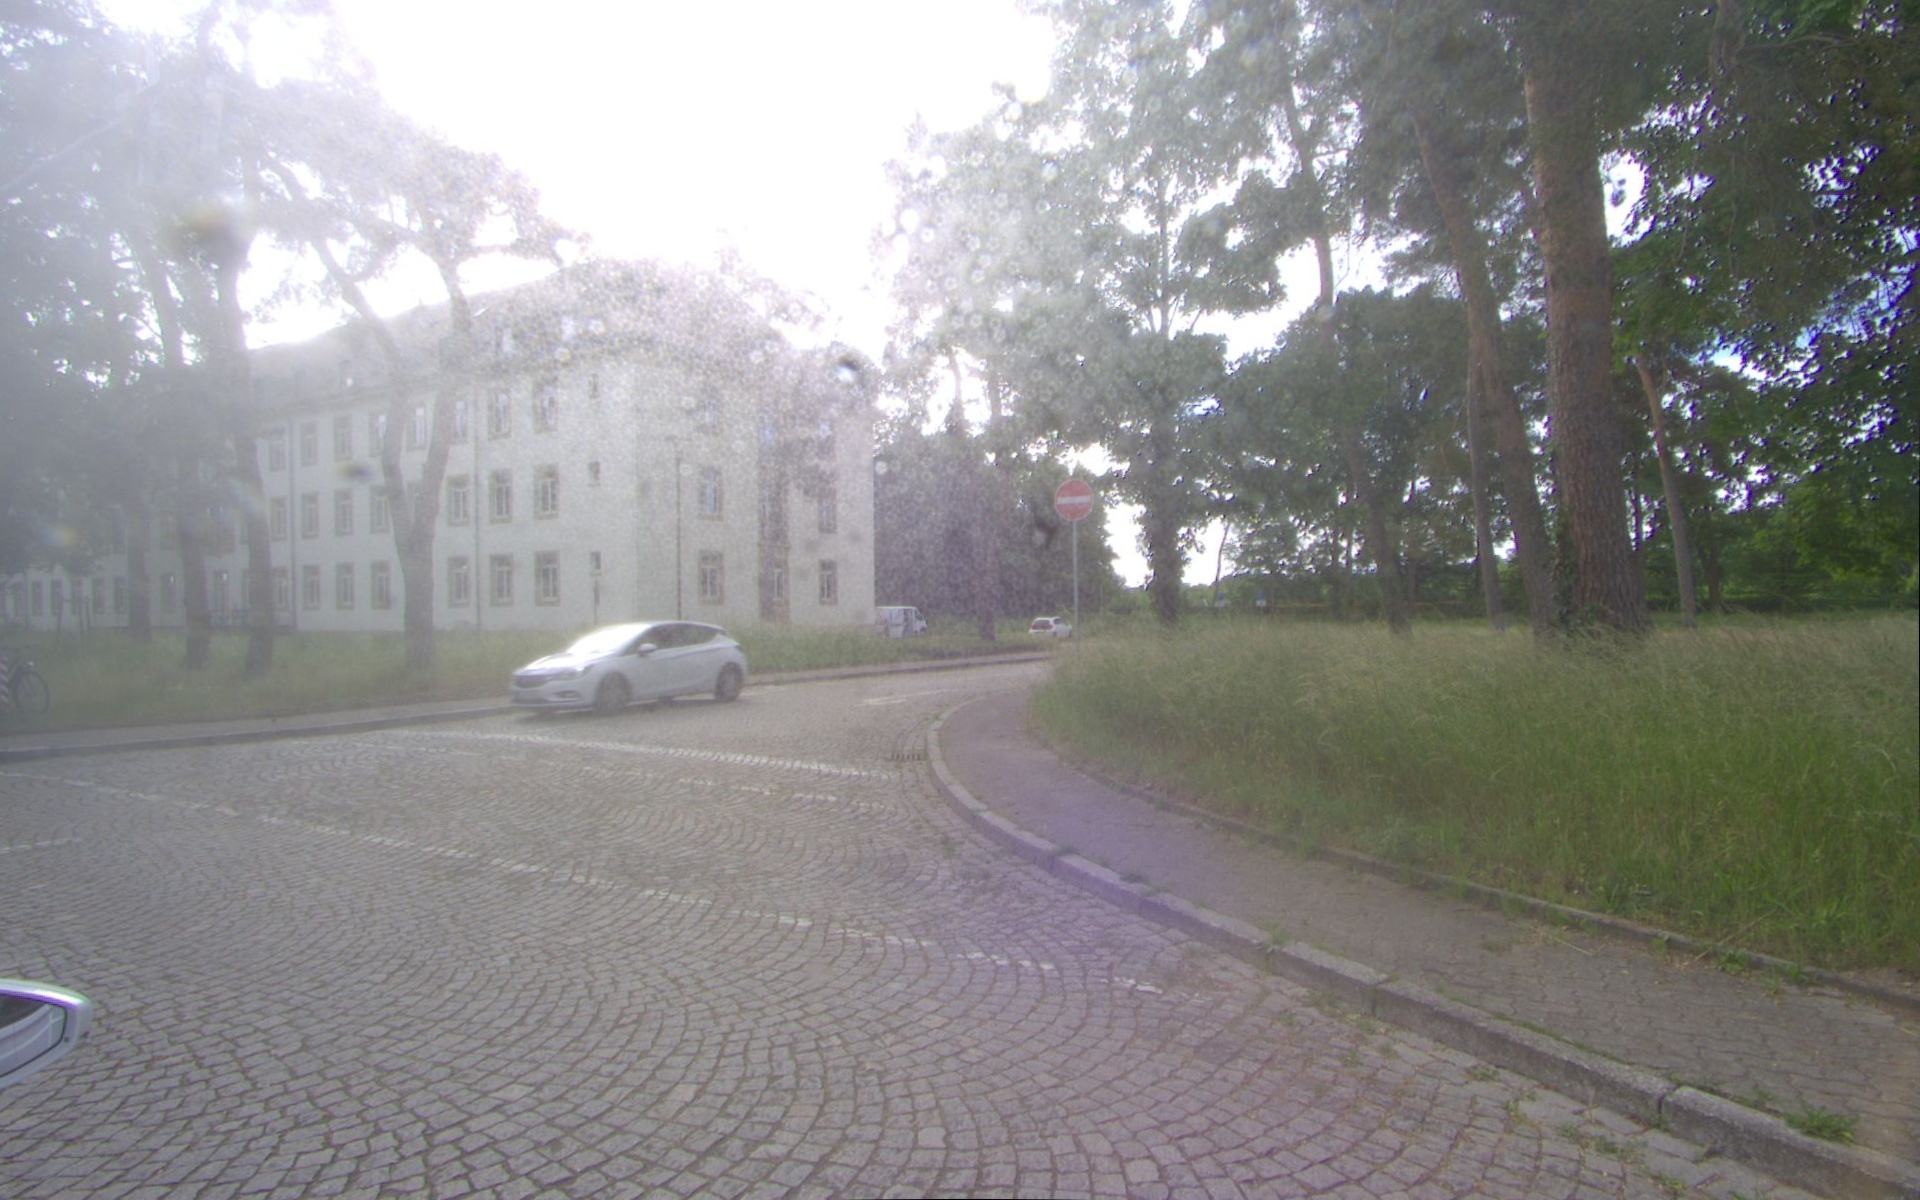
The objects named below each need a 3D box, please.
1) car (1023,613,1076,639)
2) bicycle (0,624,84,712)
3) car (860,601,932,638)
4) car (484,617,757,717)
[{"bbox_3d":[5.456,1.533,60.843,1.970,1.527,3.477,-1,-1,30],"label":"car"},{"bbox_3d":[-13.707,0.946,14.540,1.845,1.192,0.908,-1,0,29],"label":"bicycle"},{"bbox_3d":[-4.150,1.280,65.436,2.180,2.318,5.173,-1,-1,30],"label":"car"},{"bbox_3d":[-5.572,1.047,16.992,1.860,1.434,4.239,-2,-1,29],"label":"car"}]
